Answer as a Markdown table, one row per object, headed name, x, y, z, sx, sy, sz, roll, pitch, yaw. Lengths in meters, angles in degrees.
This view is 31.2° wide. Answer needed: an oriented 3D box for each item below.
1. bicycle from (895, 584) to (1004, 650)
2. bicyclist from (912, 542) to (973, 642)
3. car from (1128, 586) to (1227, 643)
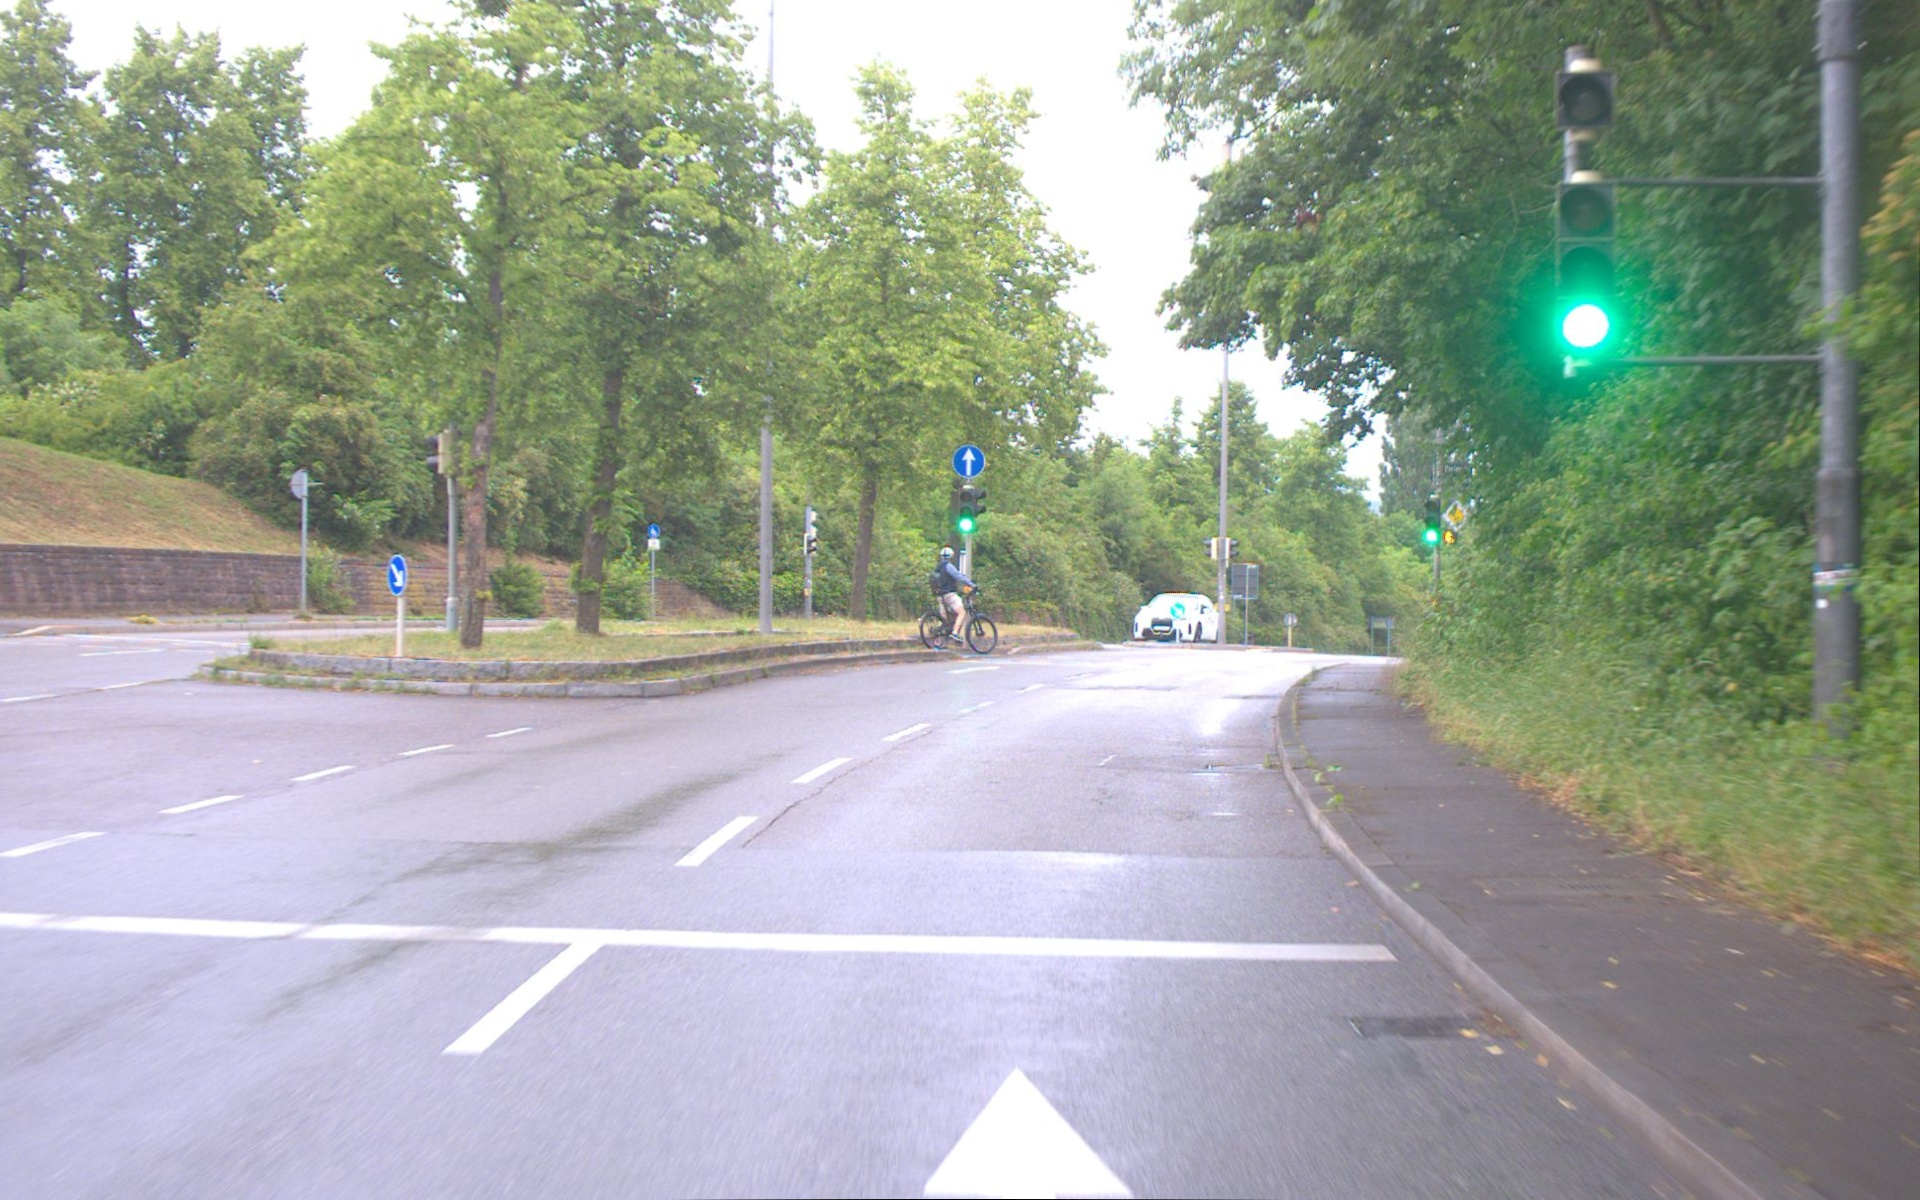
| name | x | y | z | sx | sy | sz | roll | pitch | yaw |
| --- | --- | --- | --- | --- | --- | --- | --- | --- | --- |
| bicycle | -0.181 | 0.308 | 61.620 | 2.134 | 1.139 | 0.554 | 2 | 0 | -44 |
| bicyclist | -0.314 | -0.136 | 61.570 | 0.799 | 1.746 | 0.725 | 3 | -4 | -44 |
| car | 6.824 | 0.461 | 107.345 | 1.946 | 1.630 | 5.001 | 2 | -1 | 17 |
